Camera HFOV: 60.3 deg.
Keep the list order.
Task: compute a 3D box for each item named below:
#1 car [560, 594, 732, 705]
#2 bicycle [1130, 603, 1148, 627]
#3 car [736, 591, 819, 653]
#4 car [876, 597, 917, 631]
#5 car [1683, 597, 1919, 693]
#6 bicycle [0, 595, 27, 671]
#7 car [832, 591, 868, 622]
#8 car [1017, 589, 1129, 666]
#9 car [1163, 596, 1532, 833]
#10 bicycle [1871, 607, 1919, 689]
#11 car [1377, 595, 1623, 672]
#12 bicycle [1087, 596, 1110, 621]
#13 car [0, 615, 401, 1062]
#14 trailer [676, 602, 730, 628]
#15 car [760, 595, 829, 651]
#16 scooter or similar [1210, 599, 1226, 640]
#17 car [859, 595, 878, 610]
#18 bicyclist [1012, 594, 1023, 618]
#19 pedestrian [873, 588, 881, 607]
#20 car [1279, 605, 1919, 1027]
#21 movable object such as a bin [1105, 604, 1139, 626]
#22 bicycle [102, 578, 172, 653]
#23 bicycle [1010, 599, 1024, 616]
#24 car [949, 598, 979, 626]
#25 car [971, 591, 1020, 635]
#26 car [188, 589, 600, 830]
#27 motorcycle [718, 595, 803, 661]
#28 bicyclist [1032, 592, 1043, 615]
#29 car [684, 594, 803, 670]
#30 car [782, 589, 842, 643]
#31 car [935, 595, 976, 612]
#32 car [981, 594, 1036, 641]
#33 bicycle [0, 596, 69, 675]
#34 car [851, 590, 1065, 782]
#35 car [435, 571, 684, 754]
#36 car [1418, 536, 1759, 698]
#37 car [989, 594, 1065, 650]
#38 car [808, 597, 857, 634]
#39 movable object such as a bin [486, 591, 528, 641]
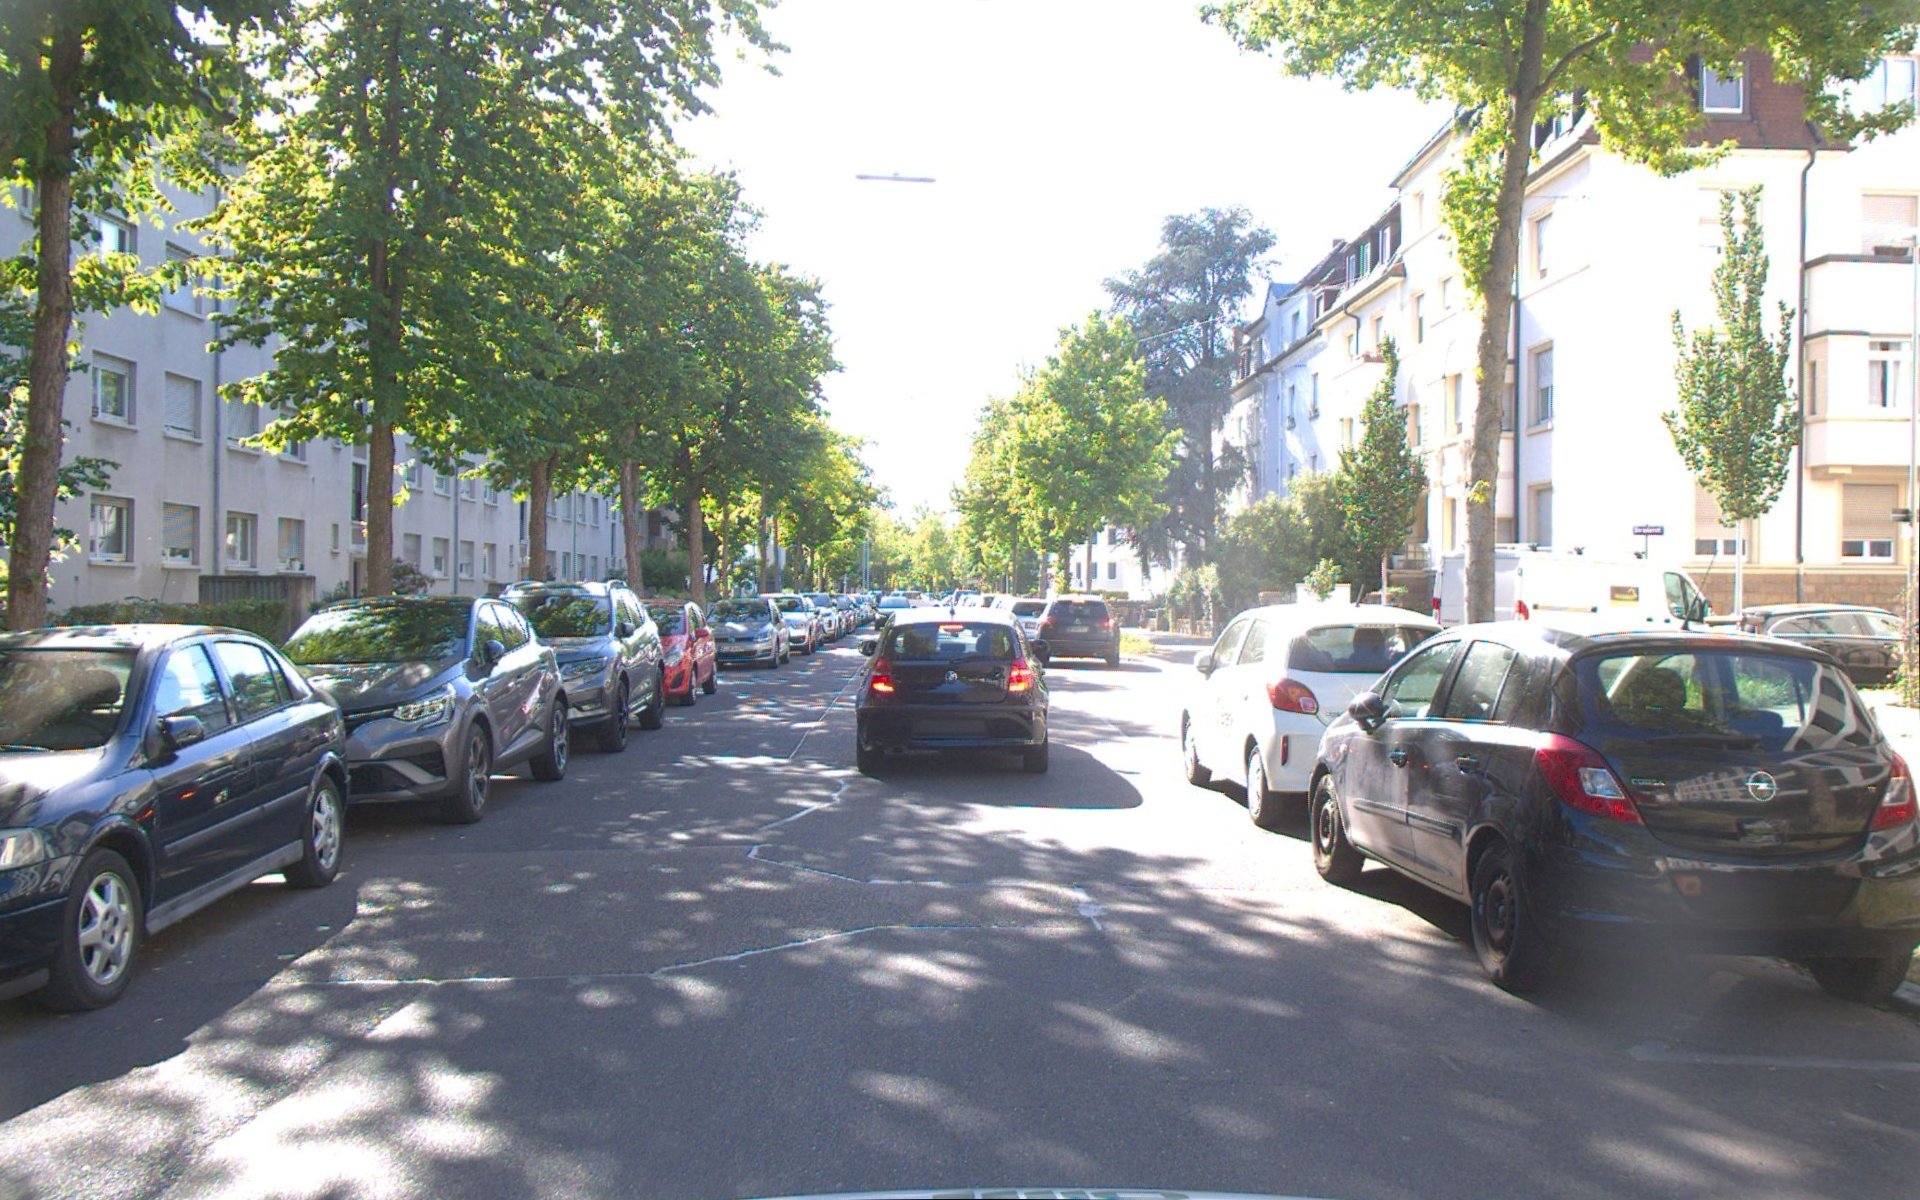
[{"bbox_3d":[-4.517,0.660,24.383,1.818,1.495,4.181,0,0,-1],"label":"car"},{"bbox_3d":[7.608,0.610,70.248,0.569,0.992,1.903,-1,0,0],"label":"bicycle"},{"bbox_3d":[-4.755,0.529,43.679,2.023,1.551,4.717,0,0,-4],"label":"car"},{"bbox_3d":[-2.880,0.620,74.751,1.773,1.471,4.364,-1,0,-3],"label":"car"},{"bbox_3d":[14.823,0.715,27.411,4.830,1.495,2.046,0,0,-4],"label":"car"},{"bbox_3d":[-15.728,0.531,26.306,0.671,1.222,1.912,0,0,1],"label":"bicycle"},{"bbox_3d":[-5.843,0.343,88.257,1.775,1.624,4.231,-1,0,-2],"label":"car"},{"bbox_3d":[2.381,0.583,36.035,1.858,1.551,4.964,1,-1,-3],"label":"car"},{"bbox_3d":[2.767,0.742,12.748,1.698,1.513,4.007,1,0,-3],"label":"car"},{"bbox_3d":[14.636,0.717,25.270,1.975,1.194,0.653,1,0,-42],"label":"bicycle"},{"bbox_3d":[10.942,0.659,33.831,4.617,1.495,1.955,0,0,13],"label":"car"},{"bbox_3d":[7.187,0.417,86.116,0.822,1.279,2.229,1,0,-5],"label":"bicycle"},{"bbox_3d":[-4.067,0.793,7.468,1.749,1.376,4.479,-1,0,-3],"label":"car"},{"bbox_3d":[-10.821,0.626,69.866,1.752,1.052,3.281,0,0,0],"label":"trailer"},{"bbox_3d":[-4.832,0.632,48.863,1.693,1.472,4.819,-2,0,-2],"label":"car"},{"bbox_3d":[7.764,0.590,49.736,0.393,1.205,1.207,0,1,13],"label":"scooter or similar"},{"bbox_3d":[-9.821,0.238,177.781,1.953,1.613,3.999,0,0,-1],"label":"car"},{"bbox_3d":[4.001,0.424,115.953,0.663,1.638,0.921,0,0,-5],"label":"bicyclist"},{"bbox_3d":[-8.471,-0.266,169.421,0.702,1.933,0.834,0,0,-11],"label":"pedestrian"},{"bbox_3d":[2.915,0.812,8.181,1.637,1.476,4.177,2,0,-3],"label":"car"},{"bbox_3d":[7.232,0.663,73.746,1.196,0.920,1.665,0,0,19],"label":"movable object such as a bin"},{"bbox_3d":[-14.946,0.272,30.080,0.390,1.311,1.913,0,0,-2],"label":"bicycle"},{"bbox_3d":[3.987,0.535,116.135,0.670,1.173,2.401,0,0,-5],"label":"bicycle"},{"bbox_3d":[0.270,0.827,118.717,1.931,1.983,4.983,0,0,-2],"label":"car"},{"bbox_3d":[1.431,0.517,68.729,1.886,1.680,5.095,2,0,0],"label":"car"},{"bbox_3d":[-4.134,0.700,12.896,1.733,1.558,4.419,0,0,-1],"label":"car"},{"bbox_3d":[-4.802,0.647,39.700,0.981,1.530,2.200,-1,0,-41],"label":"motorcycle"},{"bbox_3d":[5.429,0.233,116.219,0.663,1.580,1.021,0,0,-5],"label":"bicyclist"},{"bbox_3d":[-4.608,0.640,35.857,2.001,1.551,4.606,0,0,0],"label":"car"},{"bbox_3d":[-4.917,0.510,55.427,1.694,1.646,4.364,-3,0,-2],"label":"car"},{"bbox_3d":[-0.430,0.364,160.202,3.910,1.615,1.725,0,0,-6],"label":"car"},{"bbox_3d":[1.694,0.600,59.154,1.621,1.559,3.967,3,0,-3],"label":"car"},{"bbox_3d":[-15.035,0.543,26.308,0.671,1.222,1.912,0,0,1],"label":"bicycle"},{"bbox_3d":[-0.075,0.698,15.607,1.746,1.550,3.999,-1,0,-2],"label":"car"},{"bbox_3d":[-4.208,0.586,18.132,1.732,1.717,4.812,-1,0,-2],"label":"car"},{"bbox_3d":[9.875,0.236,25.981,4.976,2.346,2.217,0,0,-25],"label":"car"},{"bbox_3d":[1.907,0.612,48.442,1.785,1.495,4.907,2,0,-3],"label":"car"},{"bbox_3d":[-5.192,0.608,67.751,1.743,1.403,4.261,-2,0,-1],"label":"car"},{"bbox_3d":[-12.354,0.429,45.150,0.912,1.347,1.377,0,0,-7],"label":"movable object such as a bin"}]
